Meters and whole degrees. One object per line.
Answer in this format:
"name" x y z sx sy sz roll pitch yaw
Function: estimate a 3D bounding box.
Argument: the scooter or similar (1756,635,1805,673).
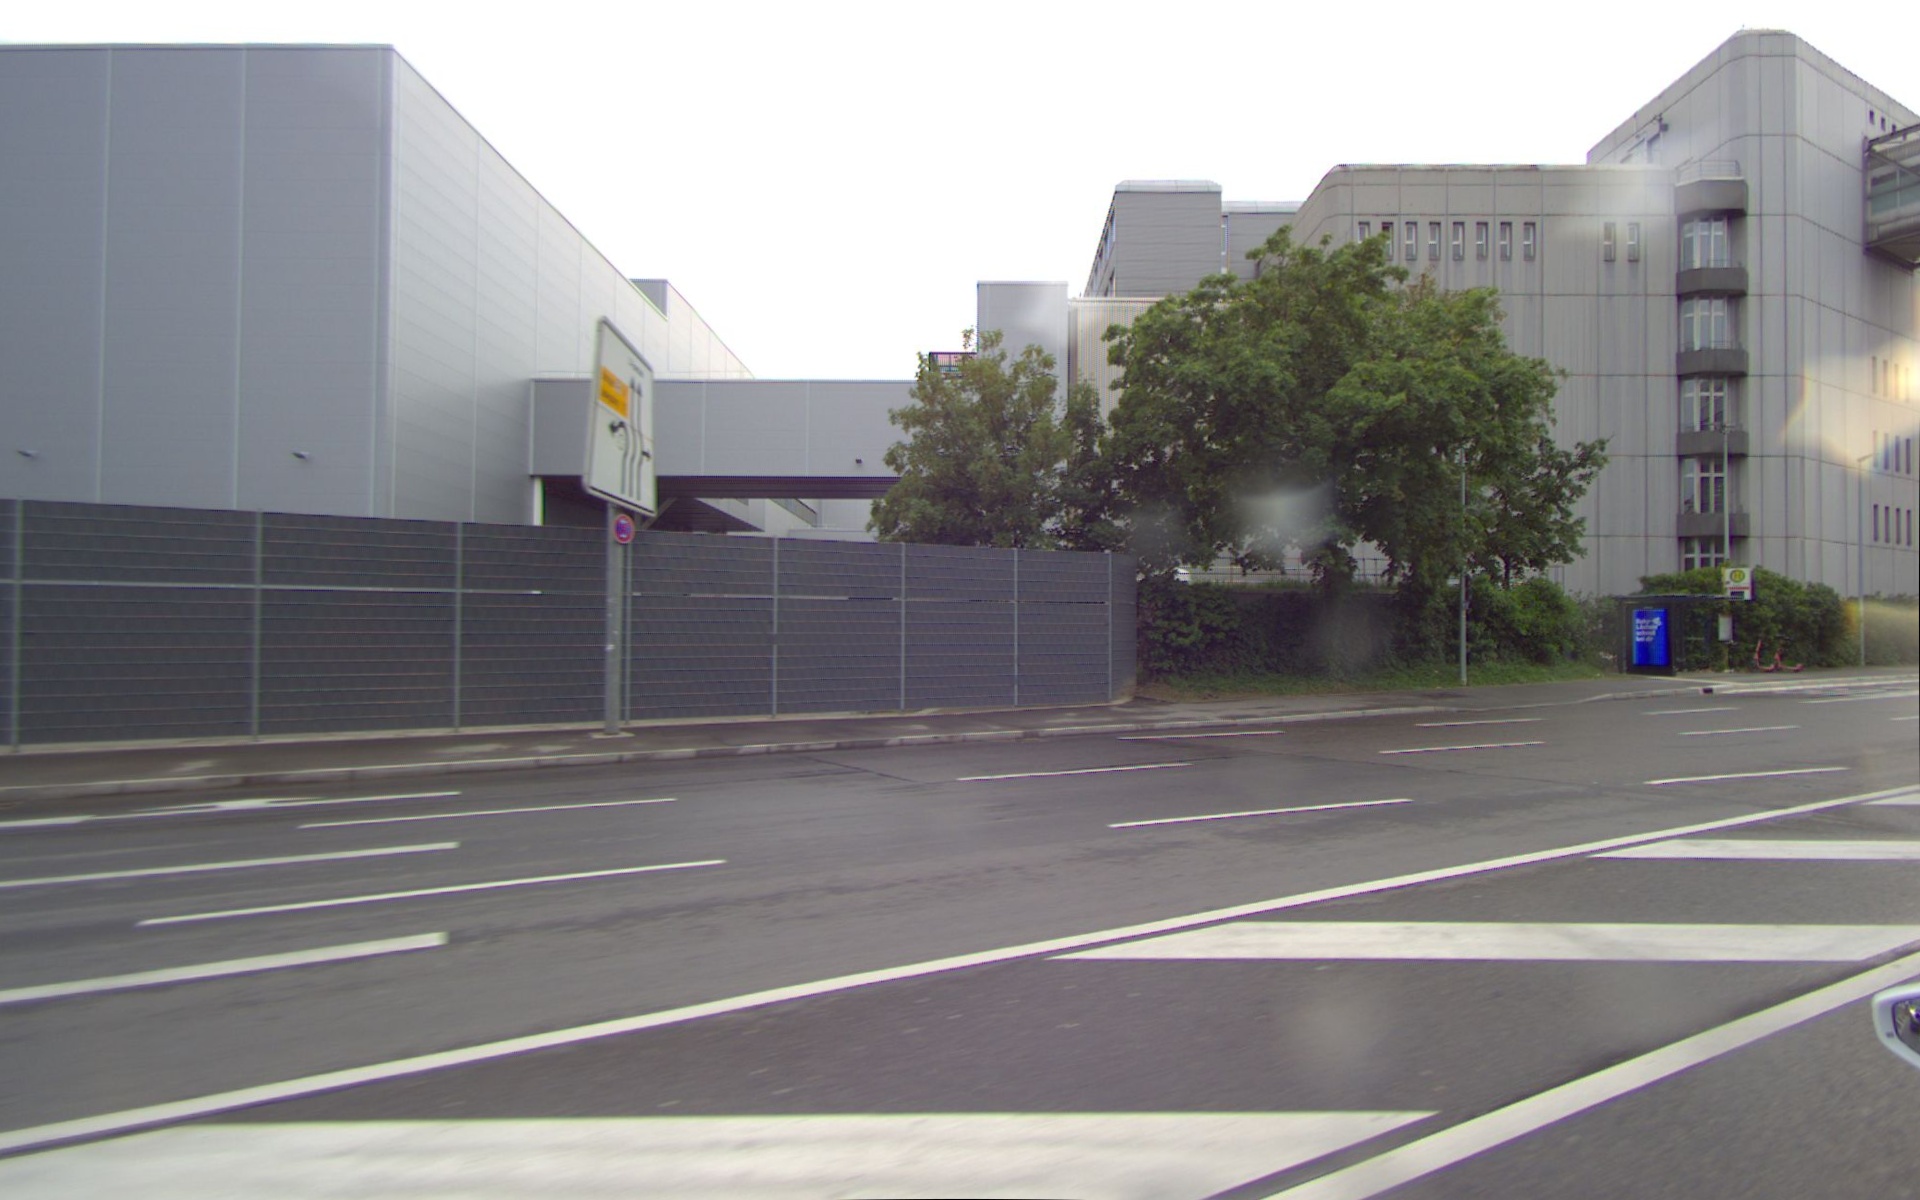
"scooter or similar" 28.540 1.870 34.933 1.894 1.269 0.496 1 -2 -24

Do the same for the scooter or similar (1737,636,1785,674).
"scooter or similar" 26.925 1.831 33.763 1.774 1.269 0.523 1 -2 -24
